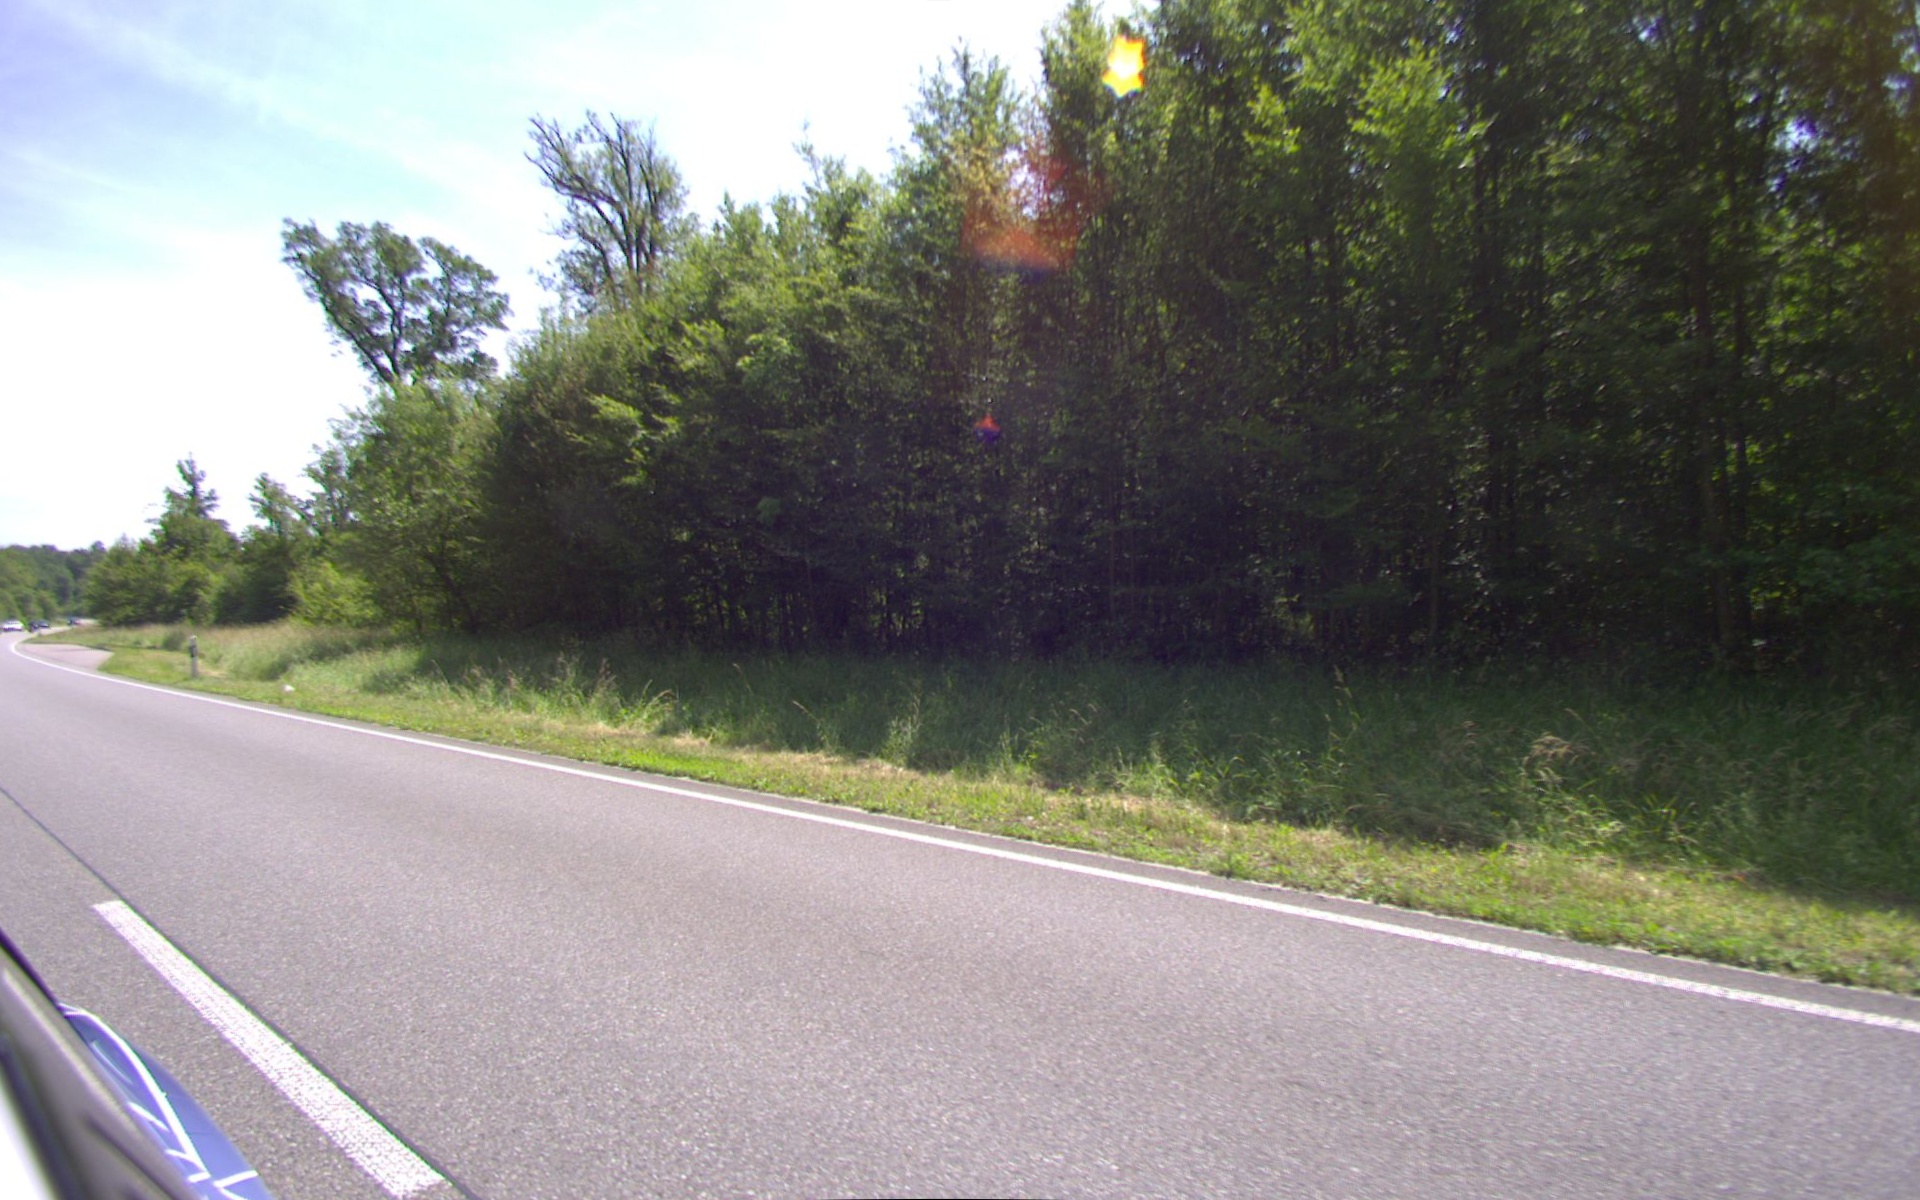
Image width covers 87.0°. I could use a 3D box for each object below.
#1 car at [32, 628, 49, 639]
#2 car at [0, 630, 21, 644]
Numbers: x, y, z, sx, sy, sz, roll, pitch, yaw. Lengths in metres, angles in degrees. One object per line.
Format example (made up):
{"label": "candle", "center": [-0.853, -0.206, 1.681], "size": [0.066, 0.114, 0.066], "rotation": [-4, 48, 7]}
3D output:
{"label": "car", "center": [-151.144, 5.437, 166.327], "size": [1.666, 1.741, 4.009], "rotation": [-1, 0, -36]}
{"label": "car", "center": [-131.874, 5.095, 140.250], "size": [1.987, 1.761, 4.391], "rotation": [-1, -1, -36]}
